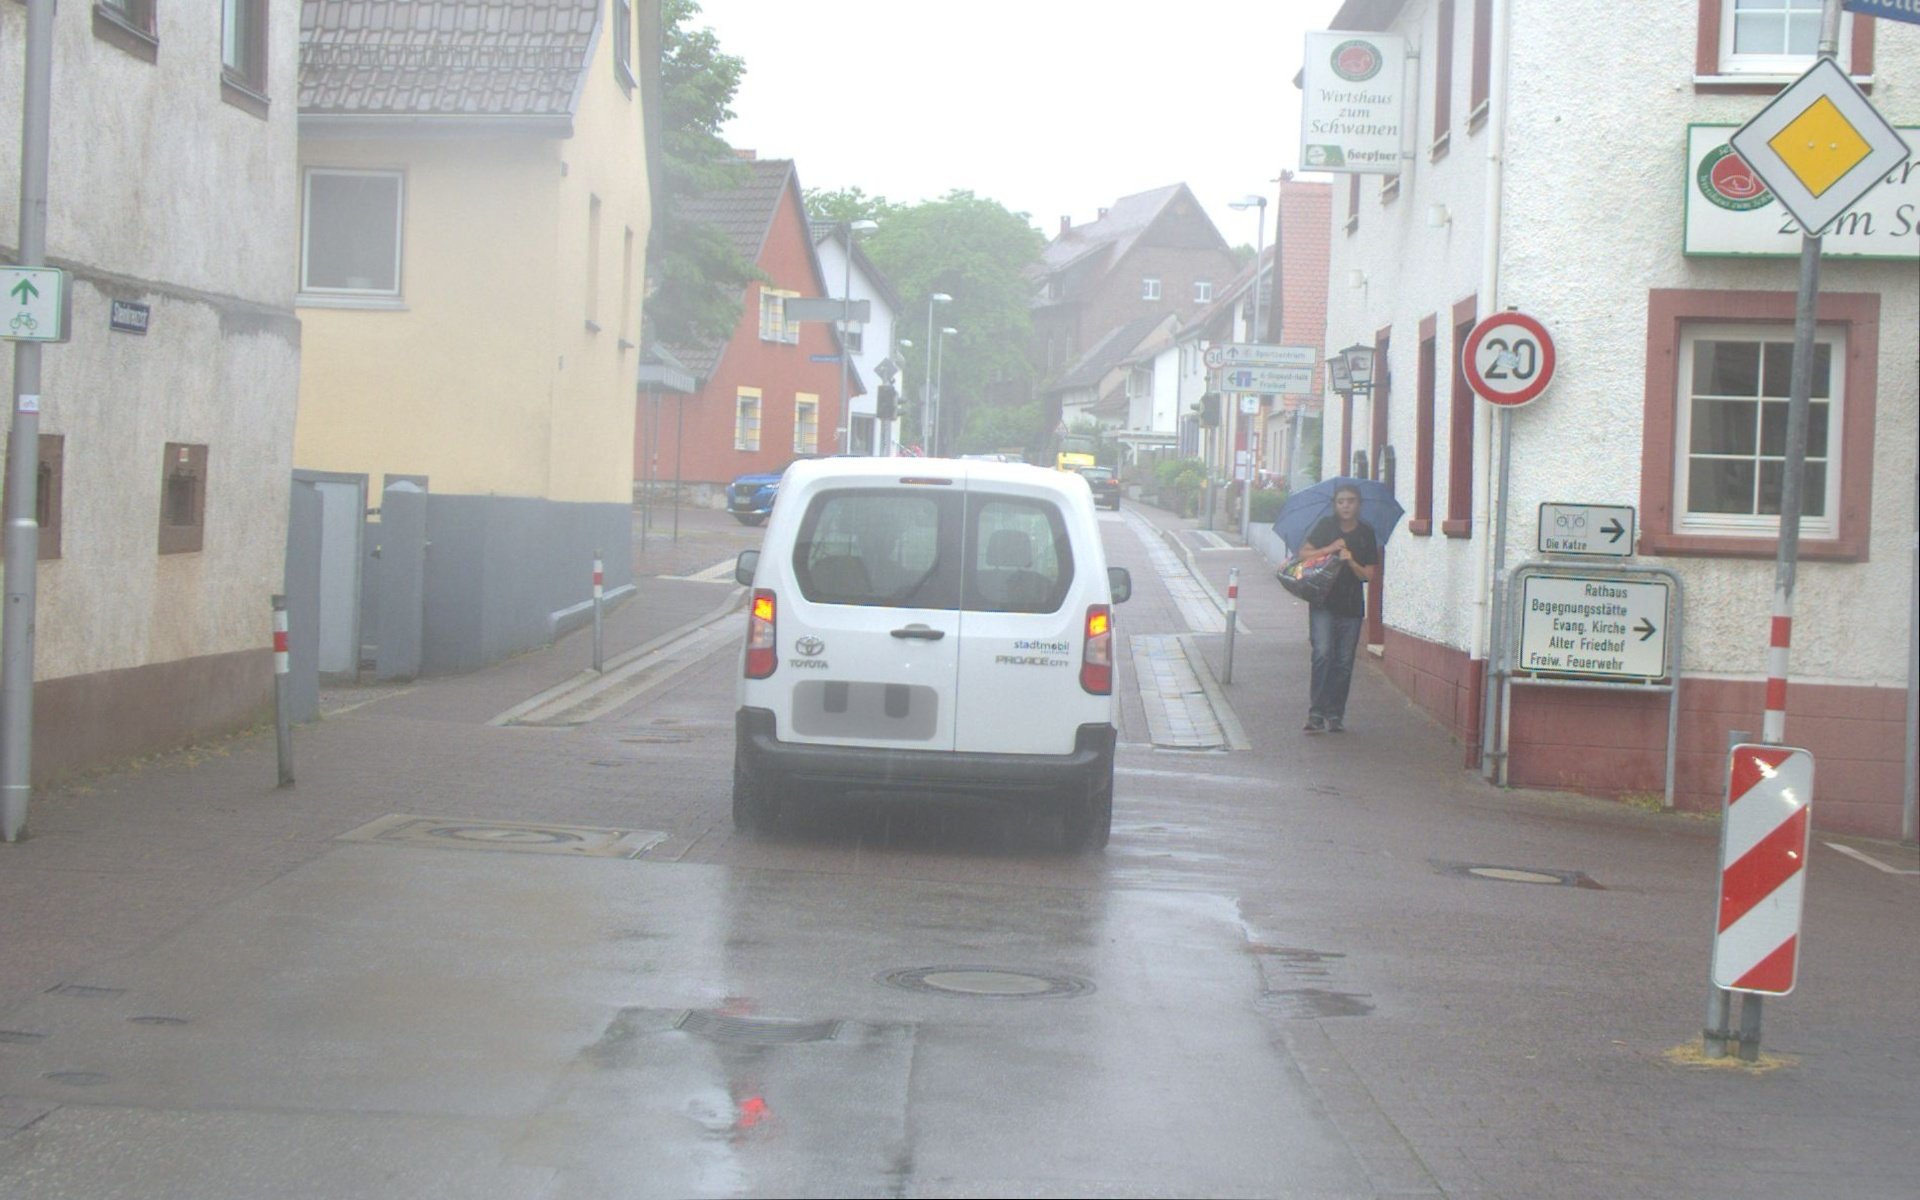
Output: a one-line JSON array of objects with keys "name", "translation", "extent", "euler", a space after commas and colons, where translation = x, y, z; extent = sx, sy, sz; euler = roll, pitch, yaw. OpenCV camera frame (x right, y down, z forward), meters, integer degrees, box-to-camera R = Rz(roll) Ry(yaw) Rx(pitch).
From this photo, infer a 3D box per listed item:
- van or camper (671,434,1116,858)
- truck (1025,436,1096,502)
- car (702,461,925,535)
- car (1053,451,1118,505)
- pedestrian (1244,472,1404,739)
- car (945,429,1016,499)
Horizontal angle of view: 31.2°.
[{"name": "van or camper", "translation": [-0.246, 0.162, 17.358], "extent": [1.943, 1.844, 4.000], "euler": [2, 1, 2]}, {"name": "truck", "translation": [3.805, -4.958, 130.589], "extent": [2.350, 2.417, 4.950], "euler": [2, 2, -1]}, {"name": "car", "translation": [-2.977, -2.074, 70.020], "extent": [3.987, 1.368, 2.111], "euler": [1, 1, -35]}, {"name": "car", "translation": [4.252, -4.150, 116.852], "extent": [1.993, 1.741, 4.000], "euler": [2, 2, 0]}, {"name": "pedestrian", "translation": [2.486, 0.022, 23.513], "extent": [0.994, 1.730, 0.811], "euler": [3, 4, 6]}, {"name": "car", "translation": [0.567, -3.673, 92.250], "extent": [1.812, 1.773, 4.018], "euler": [2, 3, 0]}]
